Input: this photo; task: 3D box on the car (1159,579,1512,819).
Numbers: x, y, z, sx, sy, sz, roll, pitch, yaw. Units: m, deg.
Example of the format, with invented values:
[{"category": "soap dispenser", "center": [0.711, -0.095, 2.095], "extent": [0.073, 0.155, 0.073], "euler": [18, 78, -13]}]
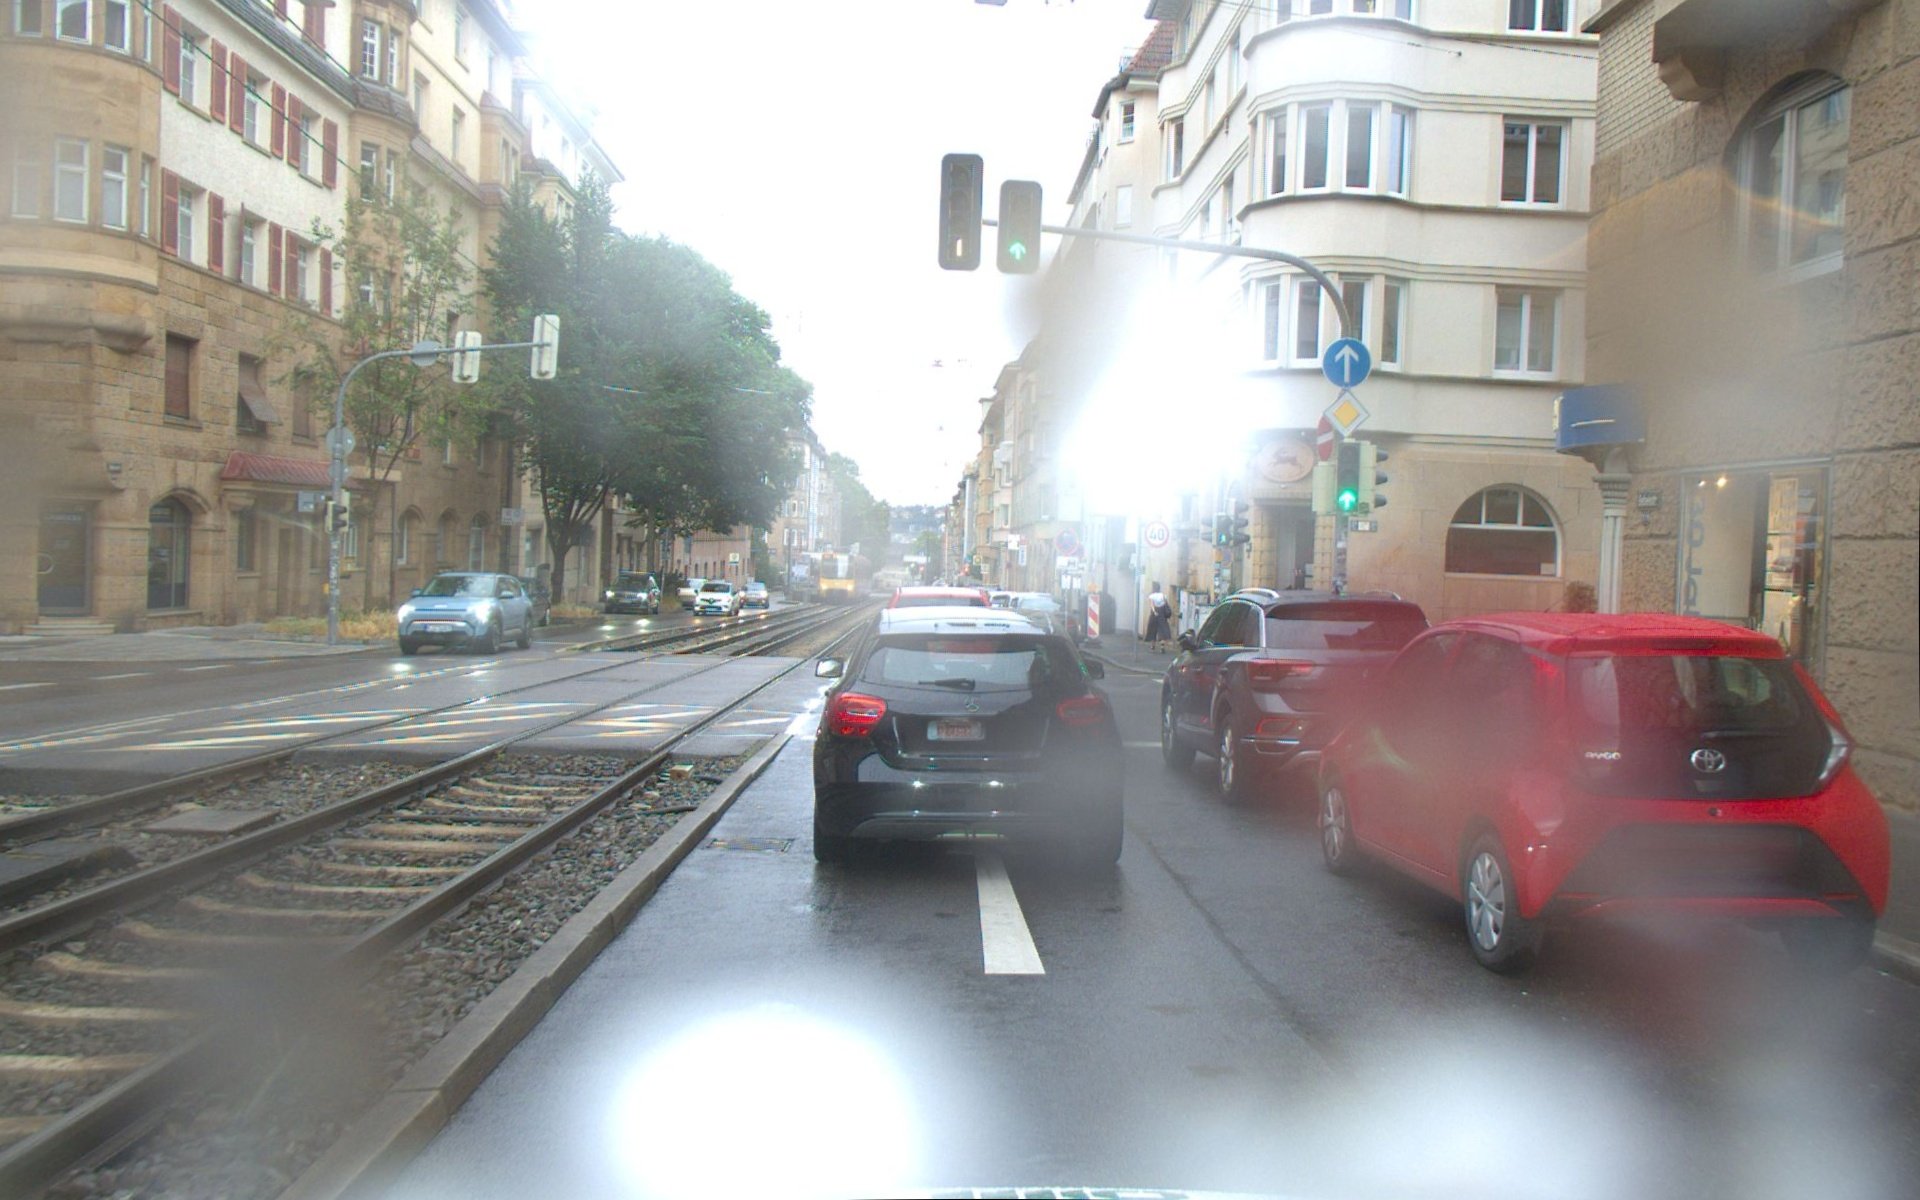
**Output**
[{"category": "car", "center": [2.817, 0.675, 13.326], "extent": [1.830, 1.576, 3.990], "euler": [2, 0, -1]}]

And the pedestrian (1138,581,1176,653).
[{"category": "pedestrian", "center": [4.763, 0.403, 39.987], "extent": [0.788, 1.717, 0.754], "euler": [1, -1, -2]}]

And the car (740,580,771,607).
[{"category": "car", "center": [-11.448, -0.394, 92.747], "extent": [1.621, 1.488, 3.730], "euler": [0, 0, -5]}]

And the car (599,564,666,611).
[{"category": "car", "center": [-13.658, -0.537, 69.214], "extent": [1.914, 1.772, 4.777], "euler": [4, 1, -3]}]

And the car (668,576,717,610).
[{"category": "car", "center": [-13.949, -0.396, 86.502], "extent": [1.922, 1.633, 4.327], "euler": [2, 1, -2]}]

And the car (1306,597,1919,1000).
[{"category": "car", "center": [3.001, 0.762, 8.056], "extent": [1.672, 1.478, 3.530], "euler": [2, 0, -3]}]

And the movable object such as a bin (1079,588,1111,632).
[{"category": "movable object such as a bin", "center": [4.677, 0.352, 57.425], "extent": [0.960, 1.494, 1.272], "euler": [1, 0, -2]}]

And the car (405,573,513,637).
[{"category": "car", "center": [-12.951, 0.124, 42.989], "extent": [1.656, 1.556, 4.173], "euler": [1, 0, -3]}]

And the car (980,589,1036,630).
[{"category": "car", "center": [1.699, 0.343, 59.576], "extent": [1.753, 1.410, 4.393], "euler": [1, 0, -1]}]

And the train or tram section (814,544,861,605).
[{"category": "train or tram section", "center": [-8.999, -1.855, 123.447], "extent": [2.690, 4.132, 17.208], "euler": [1, 1, -2]}]

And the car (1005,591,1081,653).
[{"category": "car", "center": [2.000, 0.526, 41.153], "extent": [1.675, 1.435, 4.817], "euler": [1, 0, 1]}]

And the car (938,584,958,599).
[{"category": "car", "center": [-1.223, -0.870, 171.030], "extent": [1.848, 1.552, 4.246], "euler": [2, 0, 1]}]

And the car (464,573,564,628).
[{"category": "car", "center": [-13.018, 0.030, 48.544], "extent": [1.745, 1.485, 4.976], "euler": [1, 0, -3]}]

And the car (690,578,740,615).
[{"category": "car", "center": [-10.867, -0.143, 73.569], "extent": [1.745, 1.529, 4.060], "euler": [1, 0, -3]}]

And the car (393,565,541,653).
[{"category": "car", "center": [-9.888, 0.183, 33.468], "extent": [1.883, 1.646, 4.126], "euler": [1, 0, -3]}]

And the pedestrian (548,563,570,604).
[{"category": "pedestrian", "center": [-16.808, -0.686, 69.343], "extent": [0.713, 1.692, 0.770], "euler": [2, 0, -2]}]

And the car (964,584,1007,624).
[{"category": "car", "center": [1.127, 0.190, 72.081], "extent": [1.803, 1.636, 4.761], "euler": [1, 0, 1]}]

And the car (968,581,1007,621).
[{"category": "car", "center": [1.273, 0.060, 78.220], "extent": [1.742, 1.780, 4.548], "euler": [1, 0, 0]}]

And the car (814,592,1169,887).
[{"category": "car", "center": [0.134, 0.715, 10.467], "extent": [1.797, 1.478, 3.901], "euler": [1, 0, -1]}]

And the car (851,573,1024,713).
[{"category": "car", "center": [-0.296, 0.489, 21.299], "extent": [1.953, 1.552, 4.244], "euler": [2, 0, -1]}]

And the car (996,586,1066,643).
[{"category": "car", "center": [1.946, 0.391, 46.520], "extent": [1.677, 1.493, 4.773], "euler": [1, 0, -1]}]
